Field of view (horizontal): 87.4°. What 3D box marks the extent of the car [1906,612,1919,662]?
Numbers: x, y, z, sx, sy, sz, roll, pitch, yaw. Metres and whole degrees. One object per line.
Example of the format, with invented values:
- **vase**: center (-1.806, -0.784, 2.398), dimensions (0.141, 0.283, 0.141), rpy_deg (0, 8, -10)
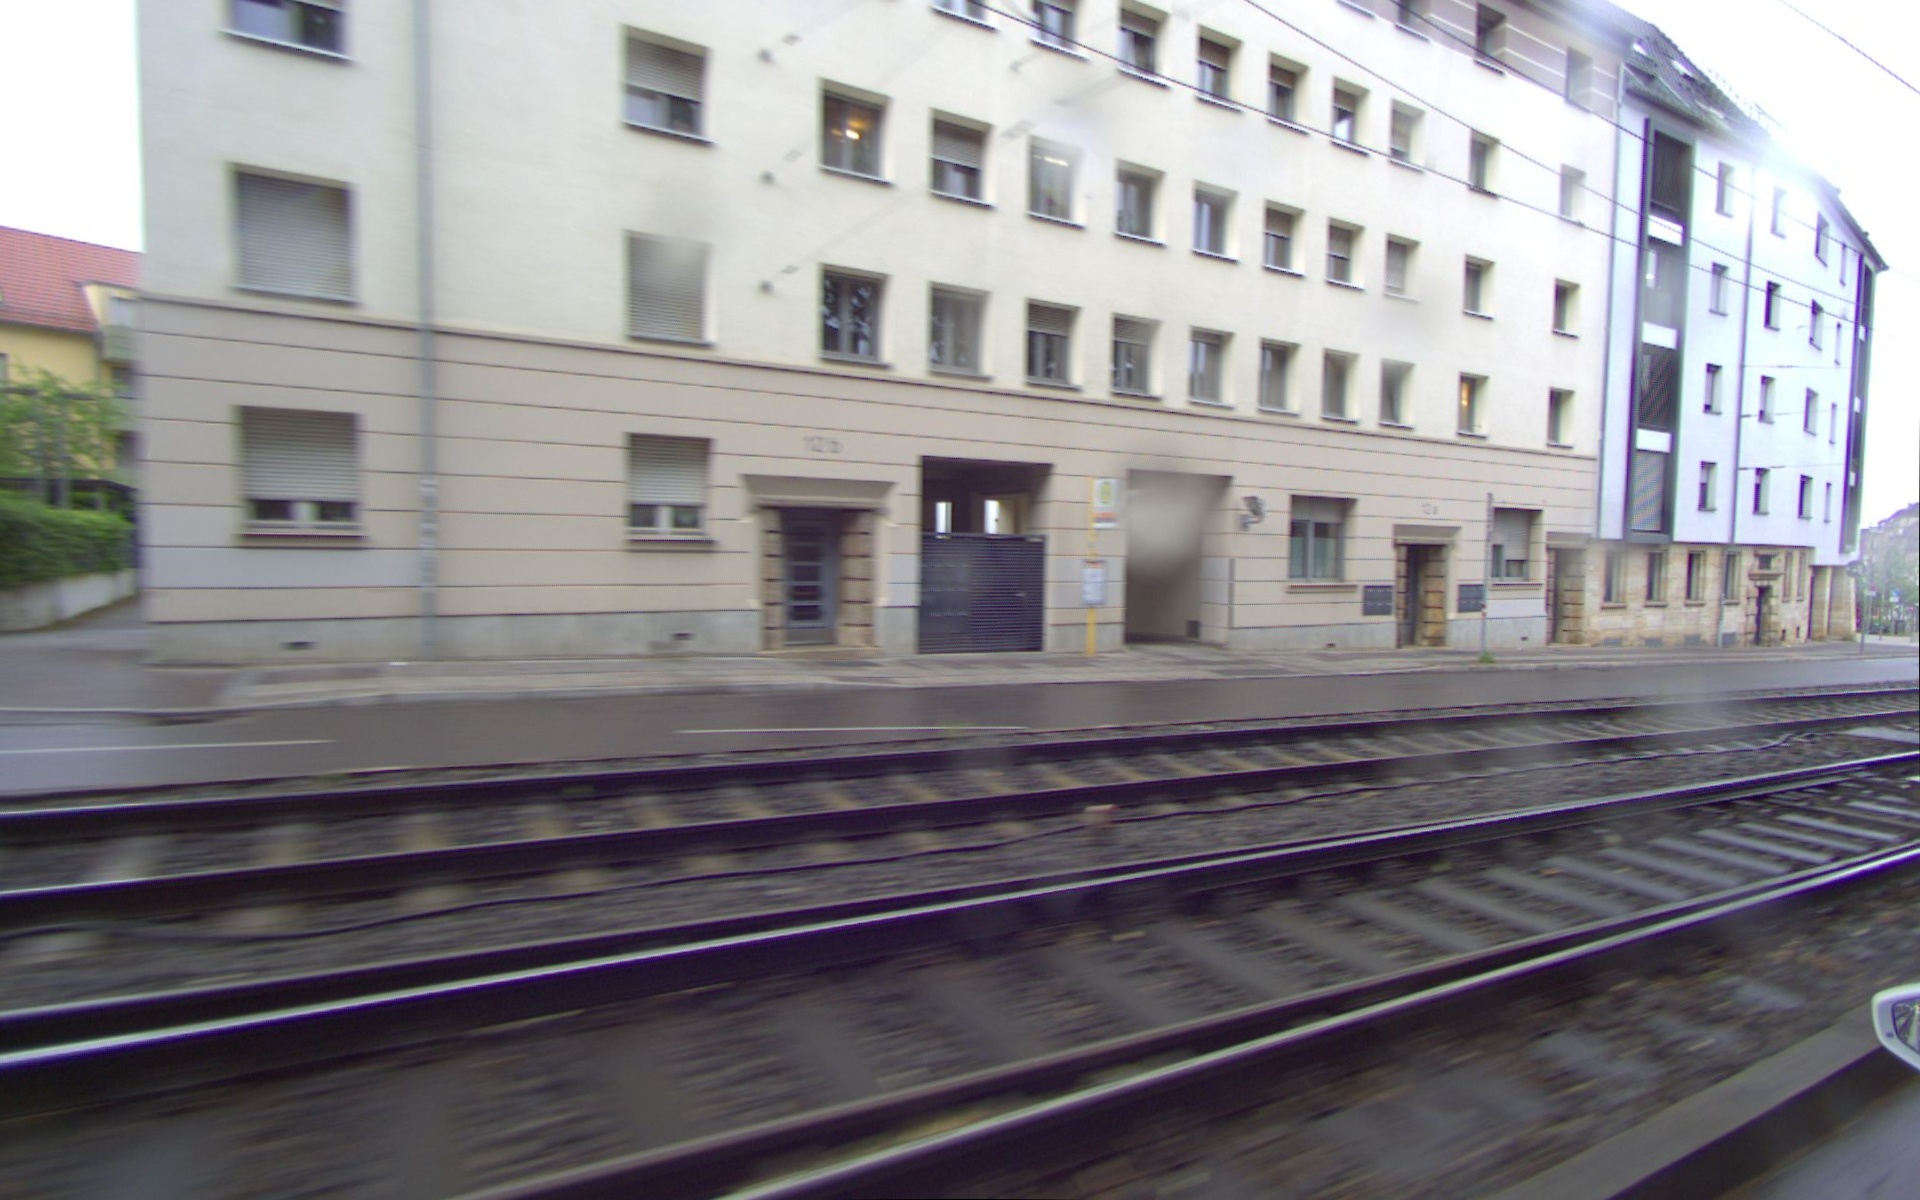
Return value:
- **car**: center (31.660, 1.219, 31.339), dimensions (4.782, 1.502, 1.791), rpy_deg (2, 1, -30)
